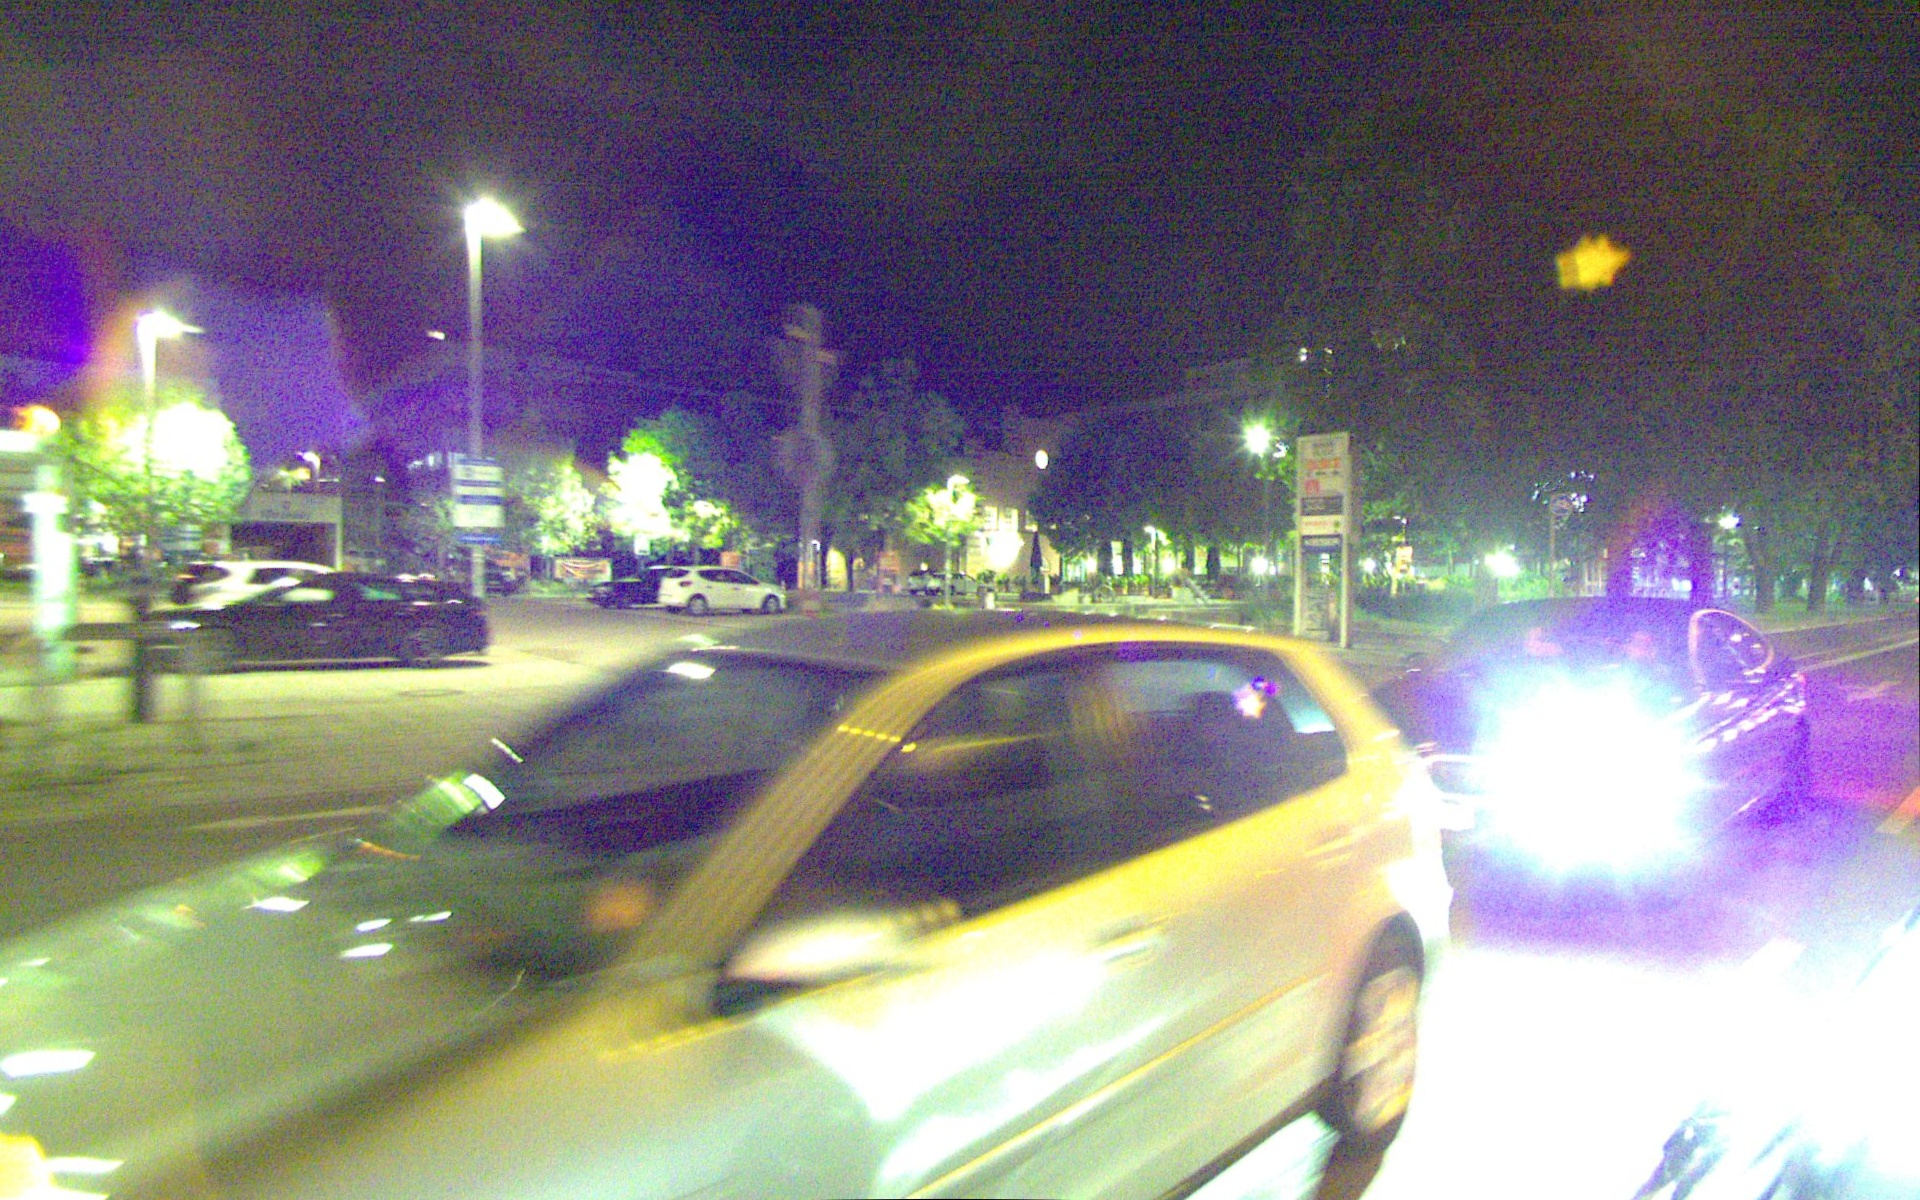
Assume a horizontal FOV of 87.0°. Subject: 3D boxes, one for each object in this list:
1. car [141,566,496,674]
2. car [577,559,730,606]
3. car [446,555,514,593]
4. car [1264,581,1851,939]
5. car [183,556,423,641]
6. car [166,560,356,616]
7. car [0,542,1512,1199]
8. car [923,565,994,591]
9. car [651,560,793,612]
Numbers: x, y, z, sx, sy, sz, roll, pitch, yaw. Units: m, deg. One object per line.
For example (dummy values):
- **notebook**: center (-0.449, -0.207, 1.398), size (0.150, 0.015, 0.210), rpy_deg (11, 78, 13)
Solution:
- **car**: center (-9.598, 0.241, 15.375), size (4.401, 1.412, 1.516), rpy_deg (0, 2, -39)
- **car**: center (-10.680, -0.616, 35.442), size (4.808, 1.531, 1.892), rpy_deg (-1, 2, -42)
- **car**: center (-23.474, -1.283, 49.450), size (2.042, 1.787, 4.549), rpy_deg (0, 2, -39)
- **car**: center (4.066, 0.658, 6.496), size (4.646, 1.513, 1.808), rpy_deg (-1, 0, -40)
- **car**: center (-13.296, -0.079, 20.595), size (3.929, 1.552, 1.786), rpy_deg (-1, 2, -40)
- **car**: center (-19.408, -0.354, 28.196), size (4.167, 1.446, 1.997), rpy_deg (-1, 2, -42)
- **car**: center (-0.319, 0.695, 2.439), size (3.931, 1.513, 1.640), rpy_deg (-1, 0, -41)
- **car**: center (-0.078, -1.387, 63.881), size (4.226, 1.526, 1.997), rpy_deg (-1, 2, -41)
- **car**: center (-7.459, -0.463, 31.910), size (4.027, 1.552, 1.772), rpy_deg (-1, 2, -41)
